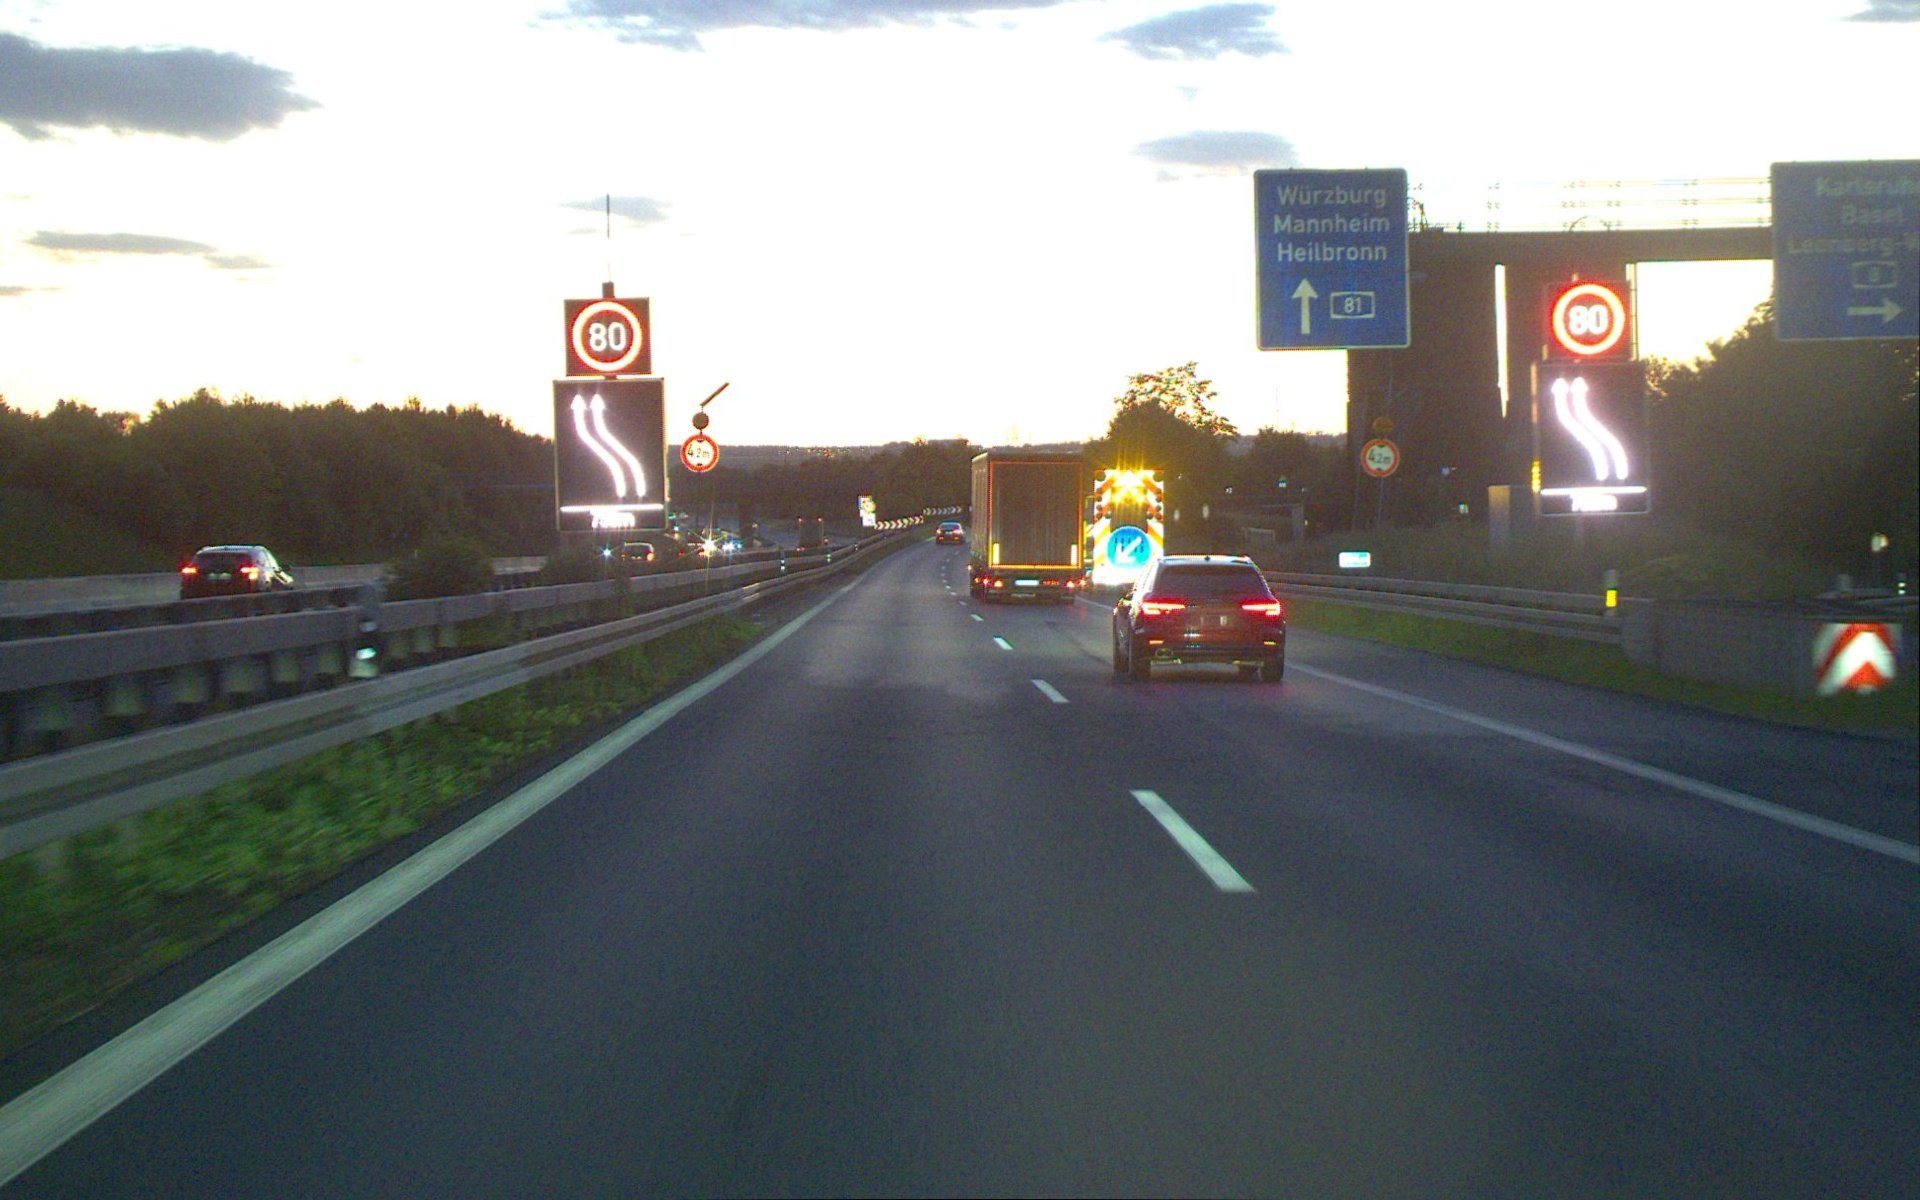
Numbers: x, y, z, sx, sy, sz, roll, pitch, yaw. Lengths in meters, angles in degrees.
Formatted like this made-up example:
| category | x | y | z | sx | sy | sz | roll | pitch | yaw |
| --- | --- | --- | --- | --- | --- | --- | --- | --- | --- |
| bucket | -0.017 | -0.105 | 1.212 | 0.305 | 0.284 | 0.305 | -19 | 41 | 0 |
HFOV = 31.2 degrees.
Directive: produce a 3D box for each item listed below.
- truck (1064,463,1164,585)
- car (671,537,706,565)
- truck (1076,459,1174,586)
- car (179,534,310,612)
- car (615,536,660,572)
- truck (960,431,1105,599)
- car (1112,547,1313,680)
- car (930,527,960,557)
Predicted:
| category | x | y | z | sx | sy | sz | roll | pitch | yaw |
| --- | --- | --- | --- | --- | --- | --- | --- | --- | --- |
| truck | 5.325 | -2.626 | 120.234 | 2.913 | 4.097 | 9.150 | 0 | 1 | -1 |
| car | -15.229 | -2.744 | 192.892 | 1.638 | 1.541 | 3.395 | -2 | 1 | 0 |
| truck | 5.345 | -2.520 | 112.501 | 2.787 | 4.045 | 6.412 | 0 | 1 | -1 |
| car | -15.216 | -0.585 | 73.343 | 1.872 | 1.556 | 4.520 | -2 | 1 | -1 |
| car | -14.903 | -2.150 | 158.960 | 1.713 | 1.600 | 3.722 | -2 | 1 | -1 |
| truck | 1.886 | -2.296 | 94.771 | 3.509 | 4.286 | 9.892 | -2 | 1 | -1 |
| car | 2.920 | 0.123 | 40.525 | 1.915 | 1.437 | 4.000 | -2 | 1 | -2 |
| car | -1.066 | -4.005 | 237.732 | 1.993 | 2.007 | 4.000 | -2 | 1 | -1 |
